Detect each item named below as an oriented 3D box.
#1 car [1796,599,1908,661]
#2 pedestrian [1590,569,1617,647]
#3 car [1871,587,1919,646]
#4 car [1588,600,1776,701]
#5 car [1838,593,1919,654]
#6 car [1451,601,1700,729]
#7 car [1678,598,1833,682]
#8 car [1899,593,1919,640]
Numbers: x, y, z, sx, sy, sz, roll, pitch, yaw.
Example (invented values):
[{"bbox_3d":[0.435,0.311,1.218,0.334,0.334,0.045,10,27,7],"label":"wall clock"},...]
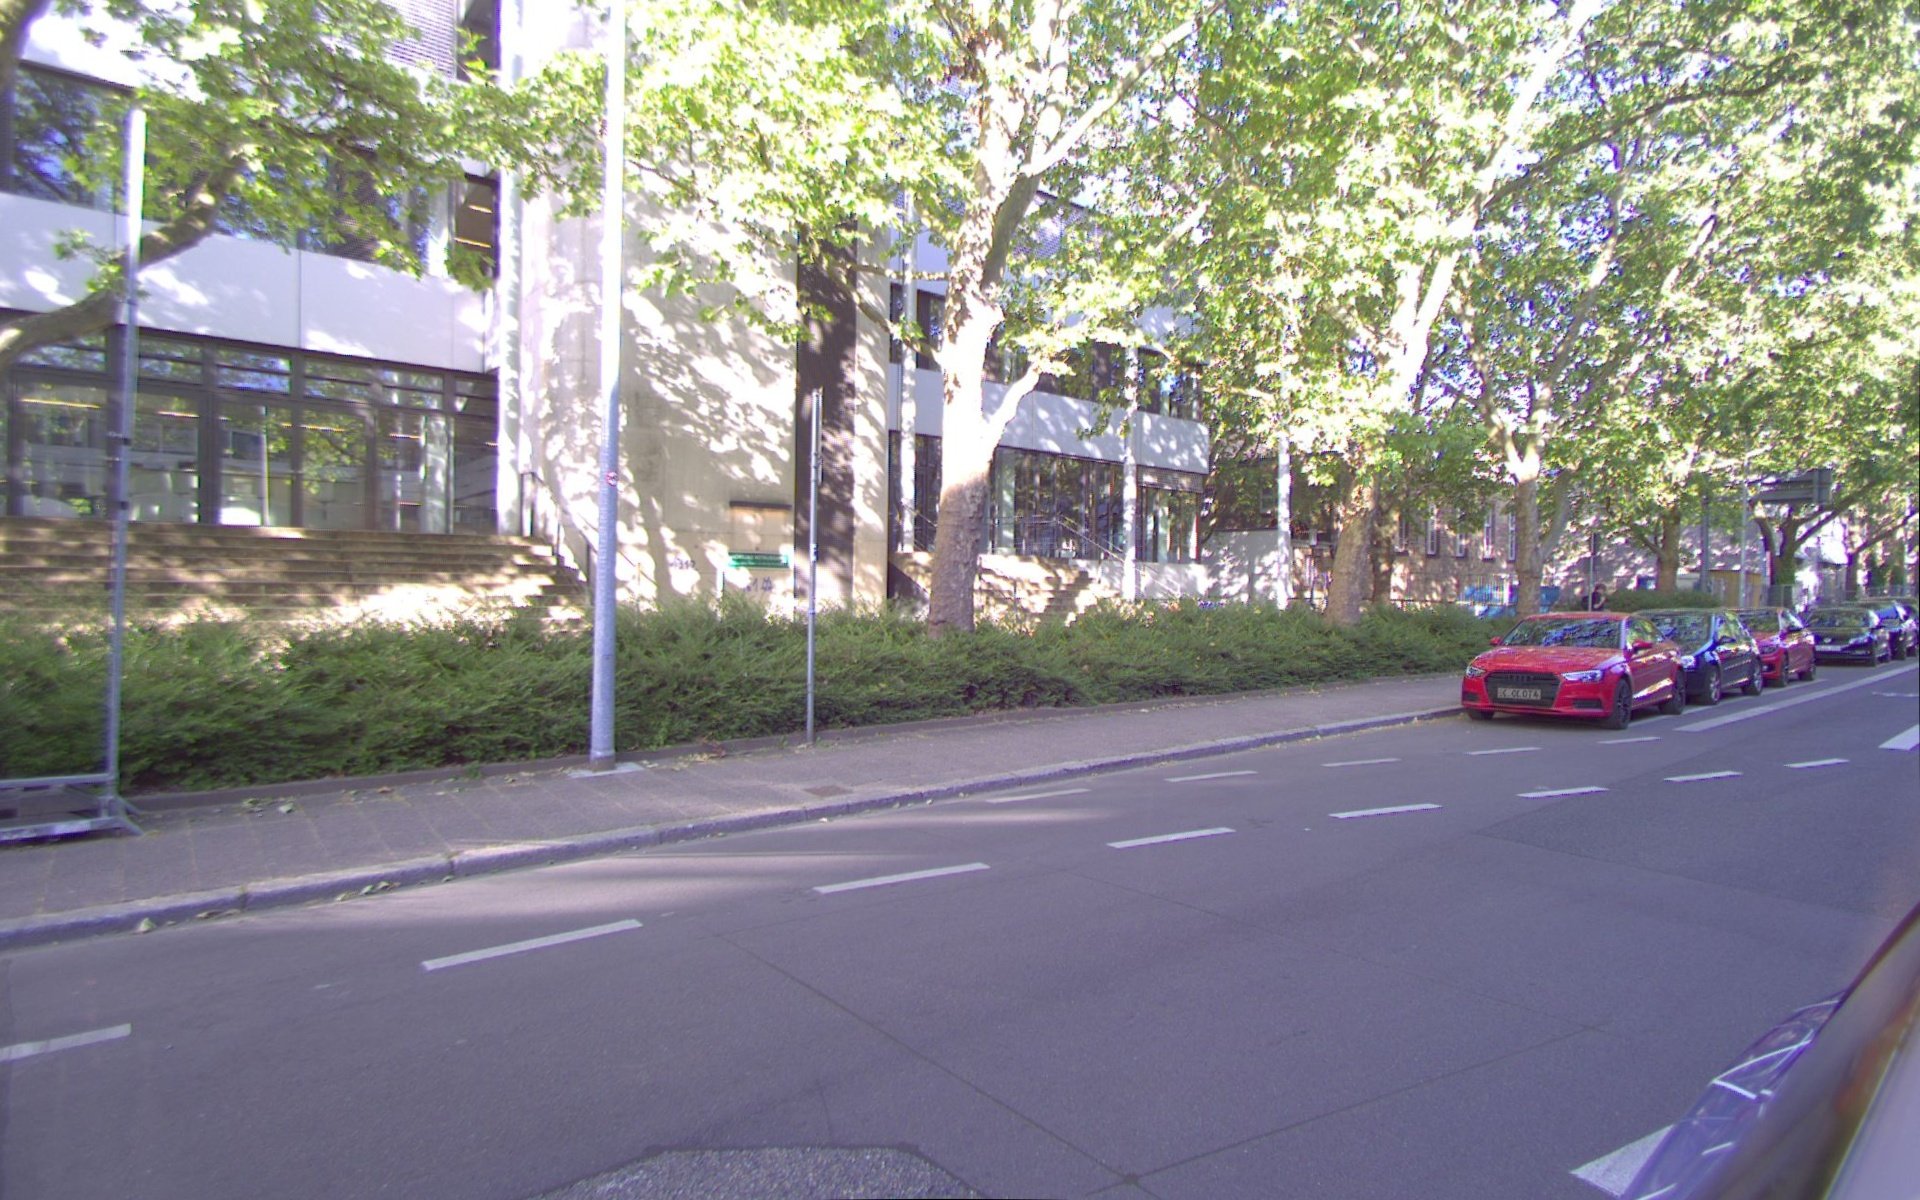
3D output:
[{"bbox_3d":[22.943,0.717,25.982,3.855,1.441,1.691,-1,0,-41],"label":"car"},{"bbox_3d":[16.943,0.201,26.633,0.549,2.039,0.555,0,0,38],"label":"pedestrian"},{"bbox_3d":[31.167,0.479,33.008,4.497,1.814,1.632,-1,0,-41],"label":"car"},{"bbox_3d":[11.850,0.734,16.541,3.632,1.436,1.668,-1,0,-40],"label":"car"},{"bbox_3d":[26.629,0.609,29.039,4.158,1.598,1.632,-1,0,-41],"label":"car"},{"bbox_3d":[8.296,0.741,13.511,3.931,1.409,1.792,-1,0,-42],"label":"car"},{"bbox_3d":[15.738,0.713,19.967,3.854,1.467,1.691,-1,0,-40],"label":"car"},{"bbox_3d":[35.531,0.578,36.779,4.497,1.633,1.632,-1,0,-41],"label":"car"}]
